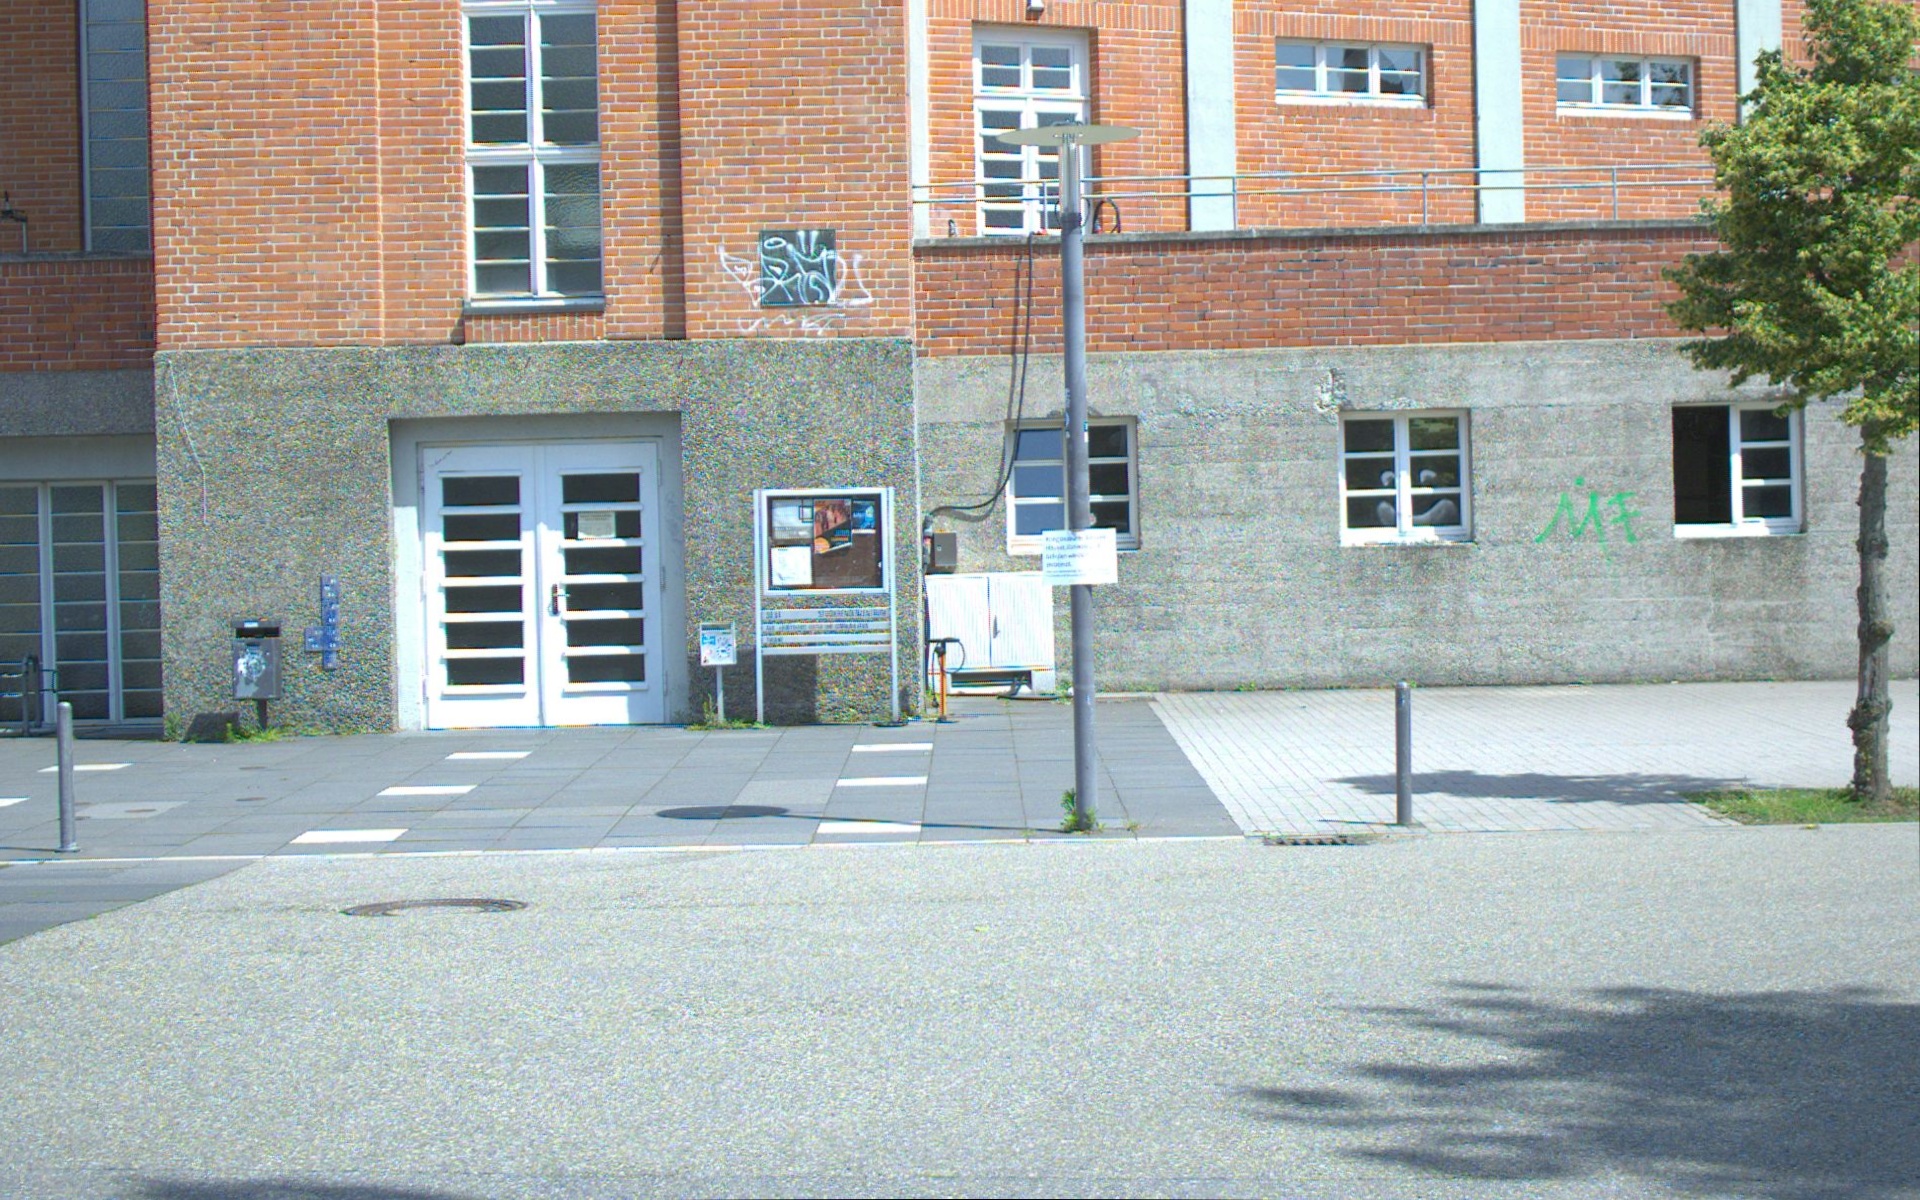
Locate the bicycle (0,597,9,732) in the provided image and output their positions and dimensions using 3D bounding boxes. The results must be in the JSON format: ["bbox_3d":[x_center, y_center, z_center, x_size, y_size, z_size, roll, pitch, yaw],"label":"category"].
[{"bbox_3d":[-8.361,0.563,27.993,0.665,1.122,2.028,-1,1,-1],"label":"bicycle"}]
